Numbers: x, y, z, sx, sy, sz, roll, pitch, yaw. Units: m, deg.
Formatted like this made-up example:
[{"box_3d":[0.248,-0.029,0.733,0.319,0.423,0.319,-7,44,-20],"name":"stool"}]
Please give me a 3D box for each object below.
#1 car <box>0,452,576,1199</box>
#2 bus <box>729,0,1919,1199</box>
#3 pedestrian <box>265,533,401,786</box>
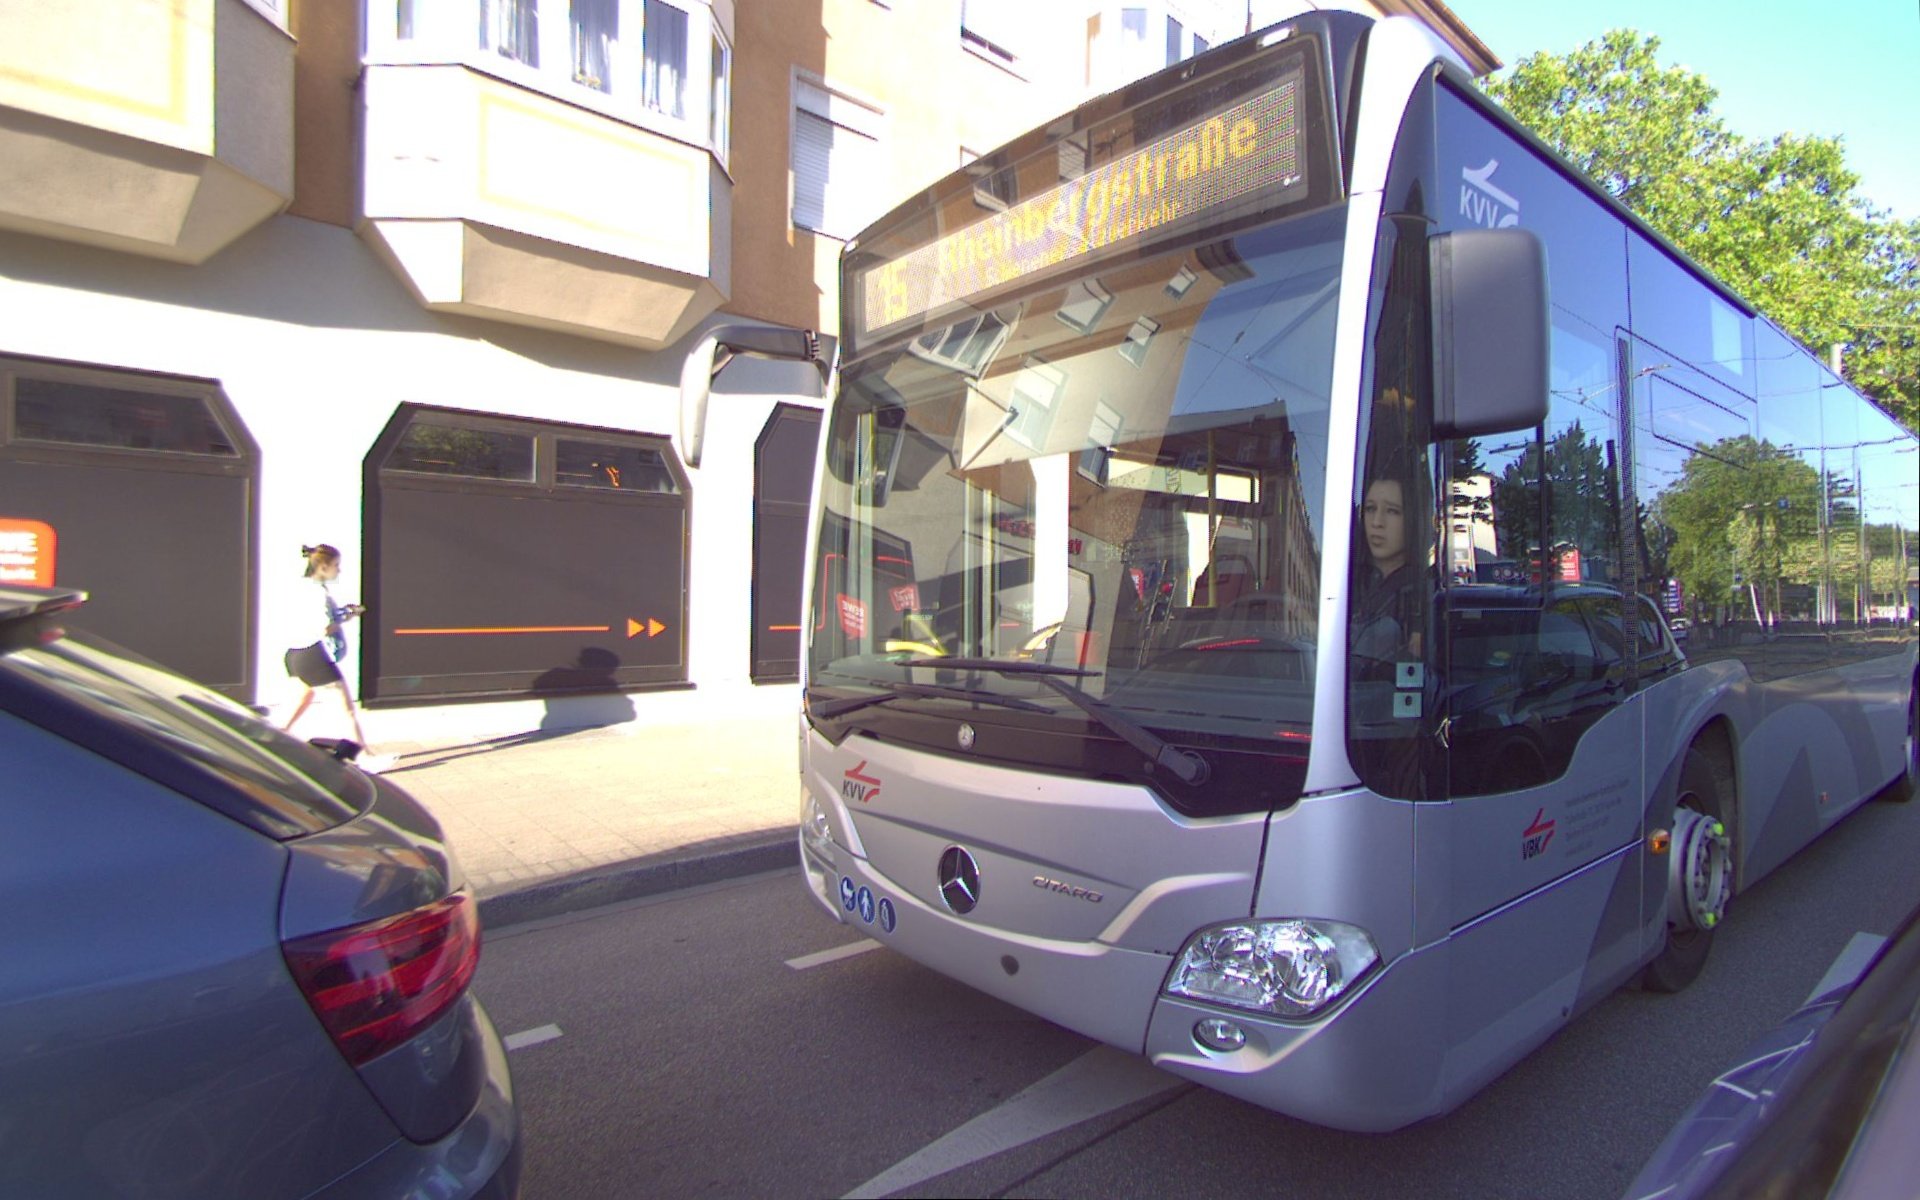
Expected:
[{"box_3d":[-2.622,0.641,0.619,4.151,1.572,1.700,0,-1,-41],"name":"car"},{"box_3d":[6.527,-0.240,8.757,17.432,3.189,2.771,0,1,-41],"name":"bus"},{"box_3d":[-4.247,0.368,6.855,0.579,1.603,0.657,2,1,45],"name":"pedestrian"}]
